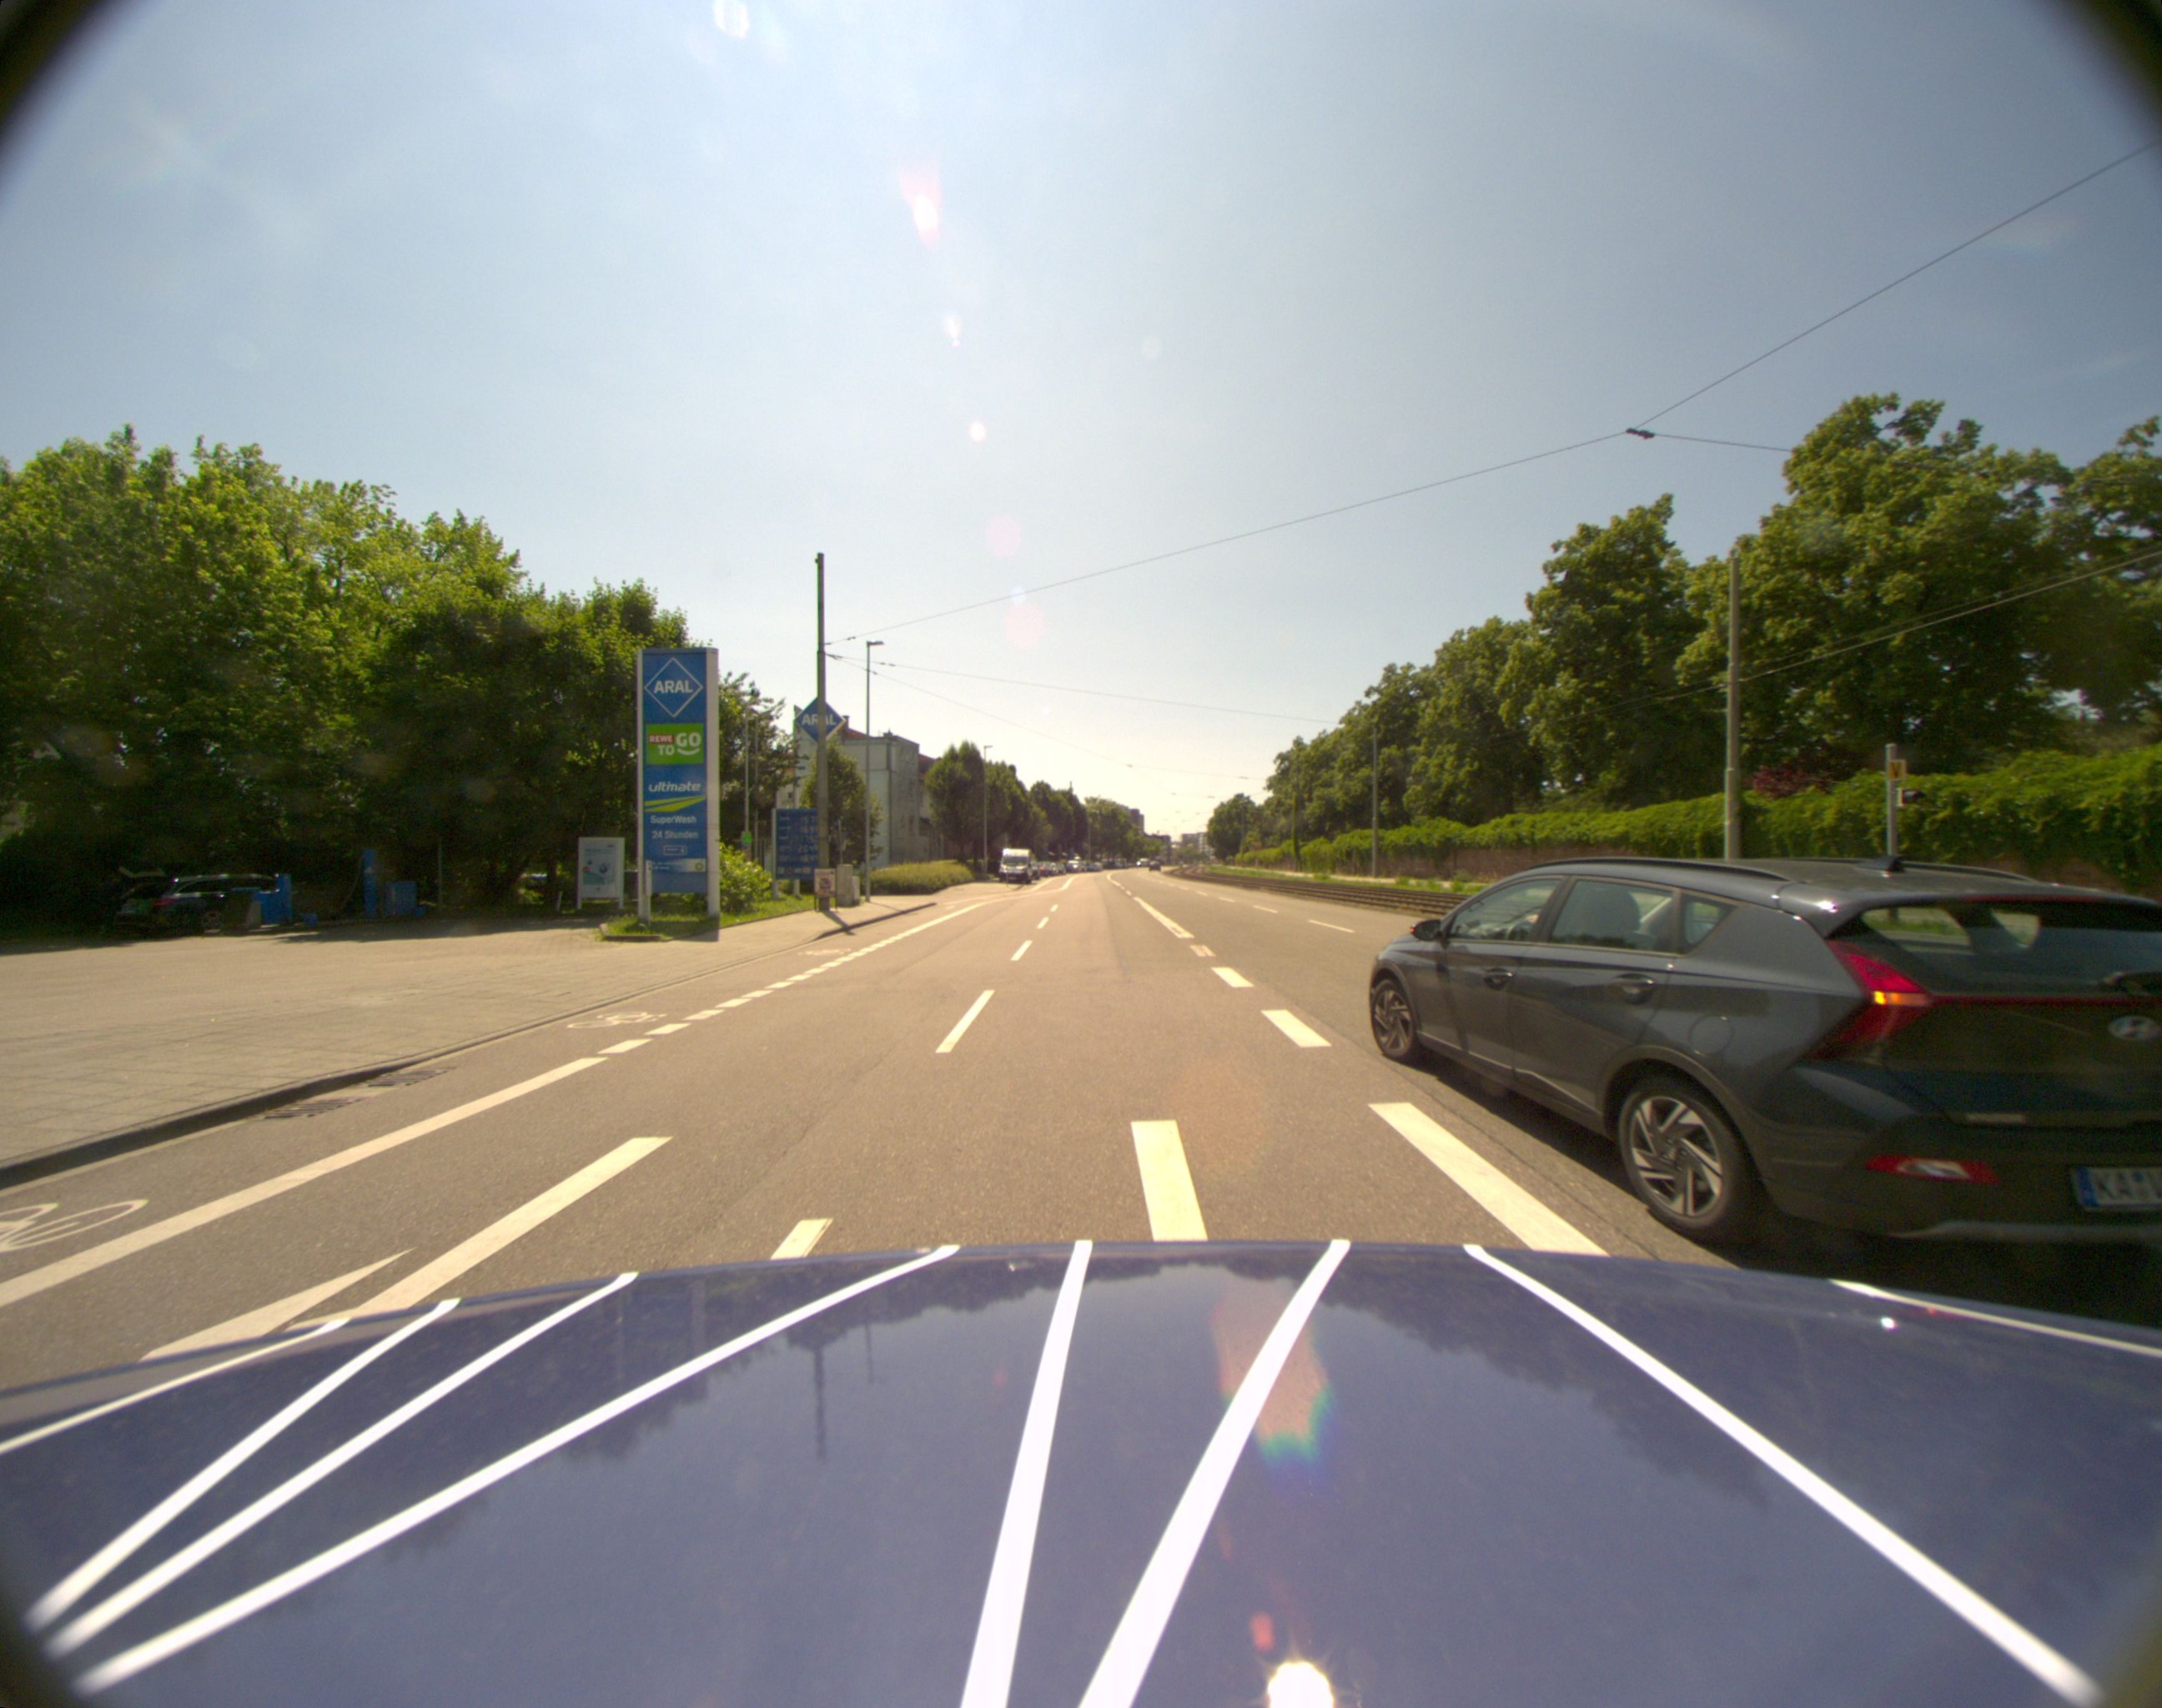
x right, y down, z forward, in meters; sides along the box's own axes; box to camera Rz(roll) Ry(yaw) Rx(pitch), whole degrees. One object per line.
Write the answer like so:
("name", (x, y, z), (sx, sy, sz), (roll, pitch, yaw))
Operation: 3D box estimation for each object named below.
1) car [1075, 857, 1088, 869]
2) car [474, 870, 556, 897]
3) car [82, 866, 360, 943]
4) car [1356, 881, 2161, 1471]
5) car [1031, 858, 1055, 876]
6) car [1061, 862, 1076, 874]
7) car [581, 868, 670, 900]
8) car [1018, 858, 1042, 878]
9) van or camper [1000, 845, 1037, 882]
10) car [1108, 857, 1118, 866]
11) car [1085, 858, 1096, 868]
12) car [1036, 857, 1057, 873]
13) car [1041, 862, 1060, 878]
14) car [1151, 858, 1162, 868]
("car", (0.071, 1.380, 116.221), (1.907, 1.707, 4.000), (-1, 0, 1))
("car", (-33.098, 1.731, 44.462), (3.991, 1.479, 1.847), (-1, 0, 18))
("car", (-22.037, 1.204, 19.806), (1.998, 1.653, 4.411), (-1, 1, 5))
("car", (3.098, 0.930, 4.087), (1.718, 1.413, 4.141), (-1, 0, 0))
("car", (-3.685, 1.234, 74.439), (1.998, 1.652, 4.000), (-1, 0, 1))
("car", (-1.700, 1.863, 104.265), (1.725, 1.586, 4.001), (-1, 0, 3))
("car", (-25.456, 1.669, 42.503), (3.992, 1.677, 2.002), (-1, 0, 16))
("car", (-4.242, 1.188, 64.011), (1.827, 1.624, 3.999), (-1, 0, -1))
("van or camper", (-4.518, 0.689, 55.631), (2.126, 2.469, 5.993), (2, 0, 0))
("car", (6.501, 1.469, 154.719), (1.998, 1.717, 4.000), (-1, 0, 1))
("car", (1.557, 1.465, 124.263), (1.806, 1.584, 4.000), (-1, 0, 1))
("car", (-3.573, 1.130, 79.560), (1.813, 1.543, 4.001), (-1, 0, 2))
("car", (-3.463, 1.782, 86.407), (1.905, 1.652, 4.000), (-1, 0, 1))
("car", (11.495, 1.390, 115.882), (1.695, 1.460, 4.002), (-1, 0, 5))
